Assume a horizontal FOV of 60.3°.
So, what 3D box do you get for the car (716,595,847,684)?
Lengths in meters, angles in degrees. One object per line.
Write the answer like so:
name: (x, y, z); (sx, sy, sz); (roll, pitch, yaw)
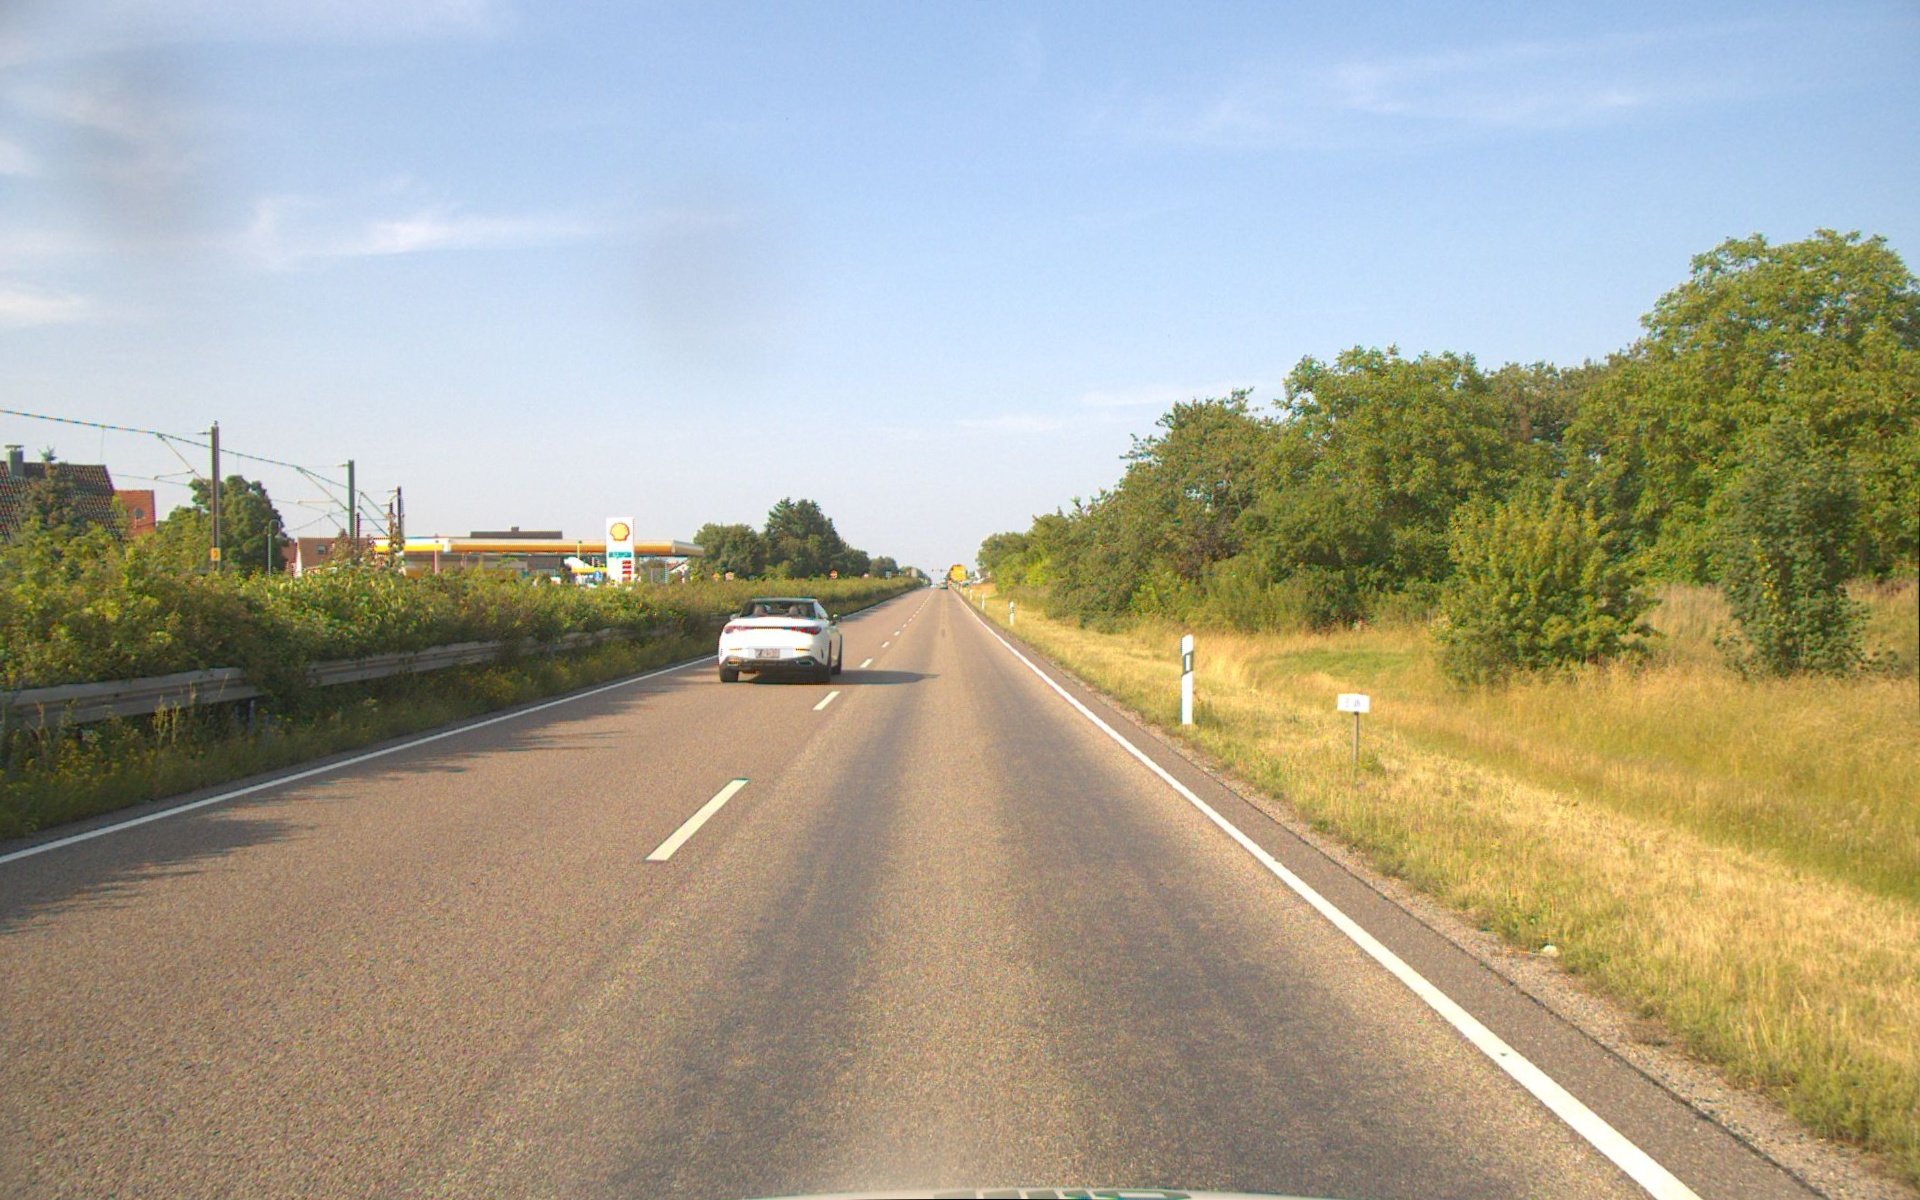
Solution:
car: (-3.000, 0.622, 28.731); (1.735, 1.361, 4.949); (1, 0, 0)
